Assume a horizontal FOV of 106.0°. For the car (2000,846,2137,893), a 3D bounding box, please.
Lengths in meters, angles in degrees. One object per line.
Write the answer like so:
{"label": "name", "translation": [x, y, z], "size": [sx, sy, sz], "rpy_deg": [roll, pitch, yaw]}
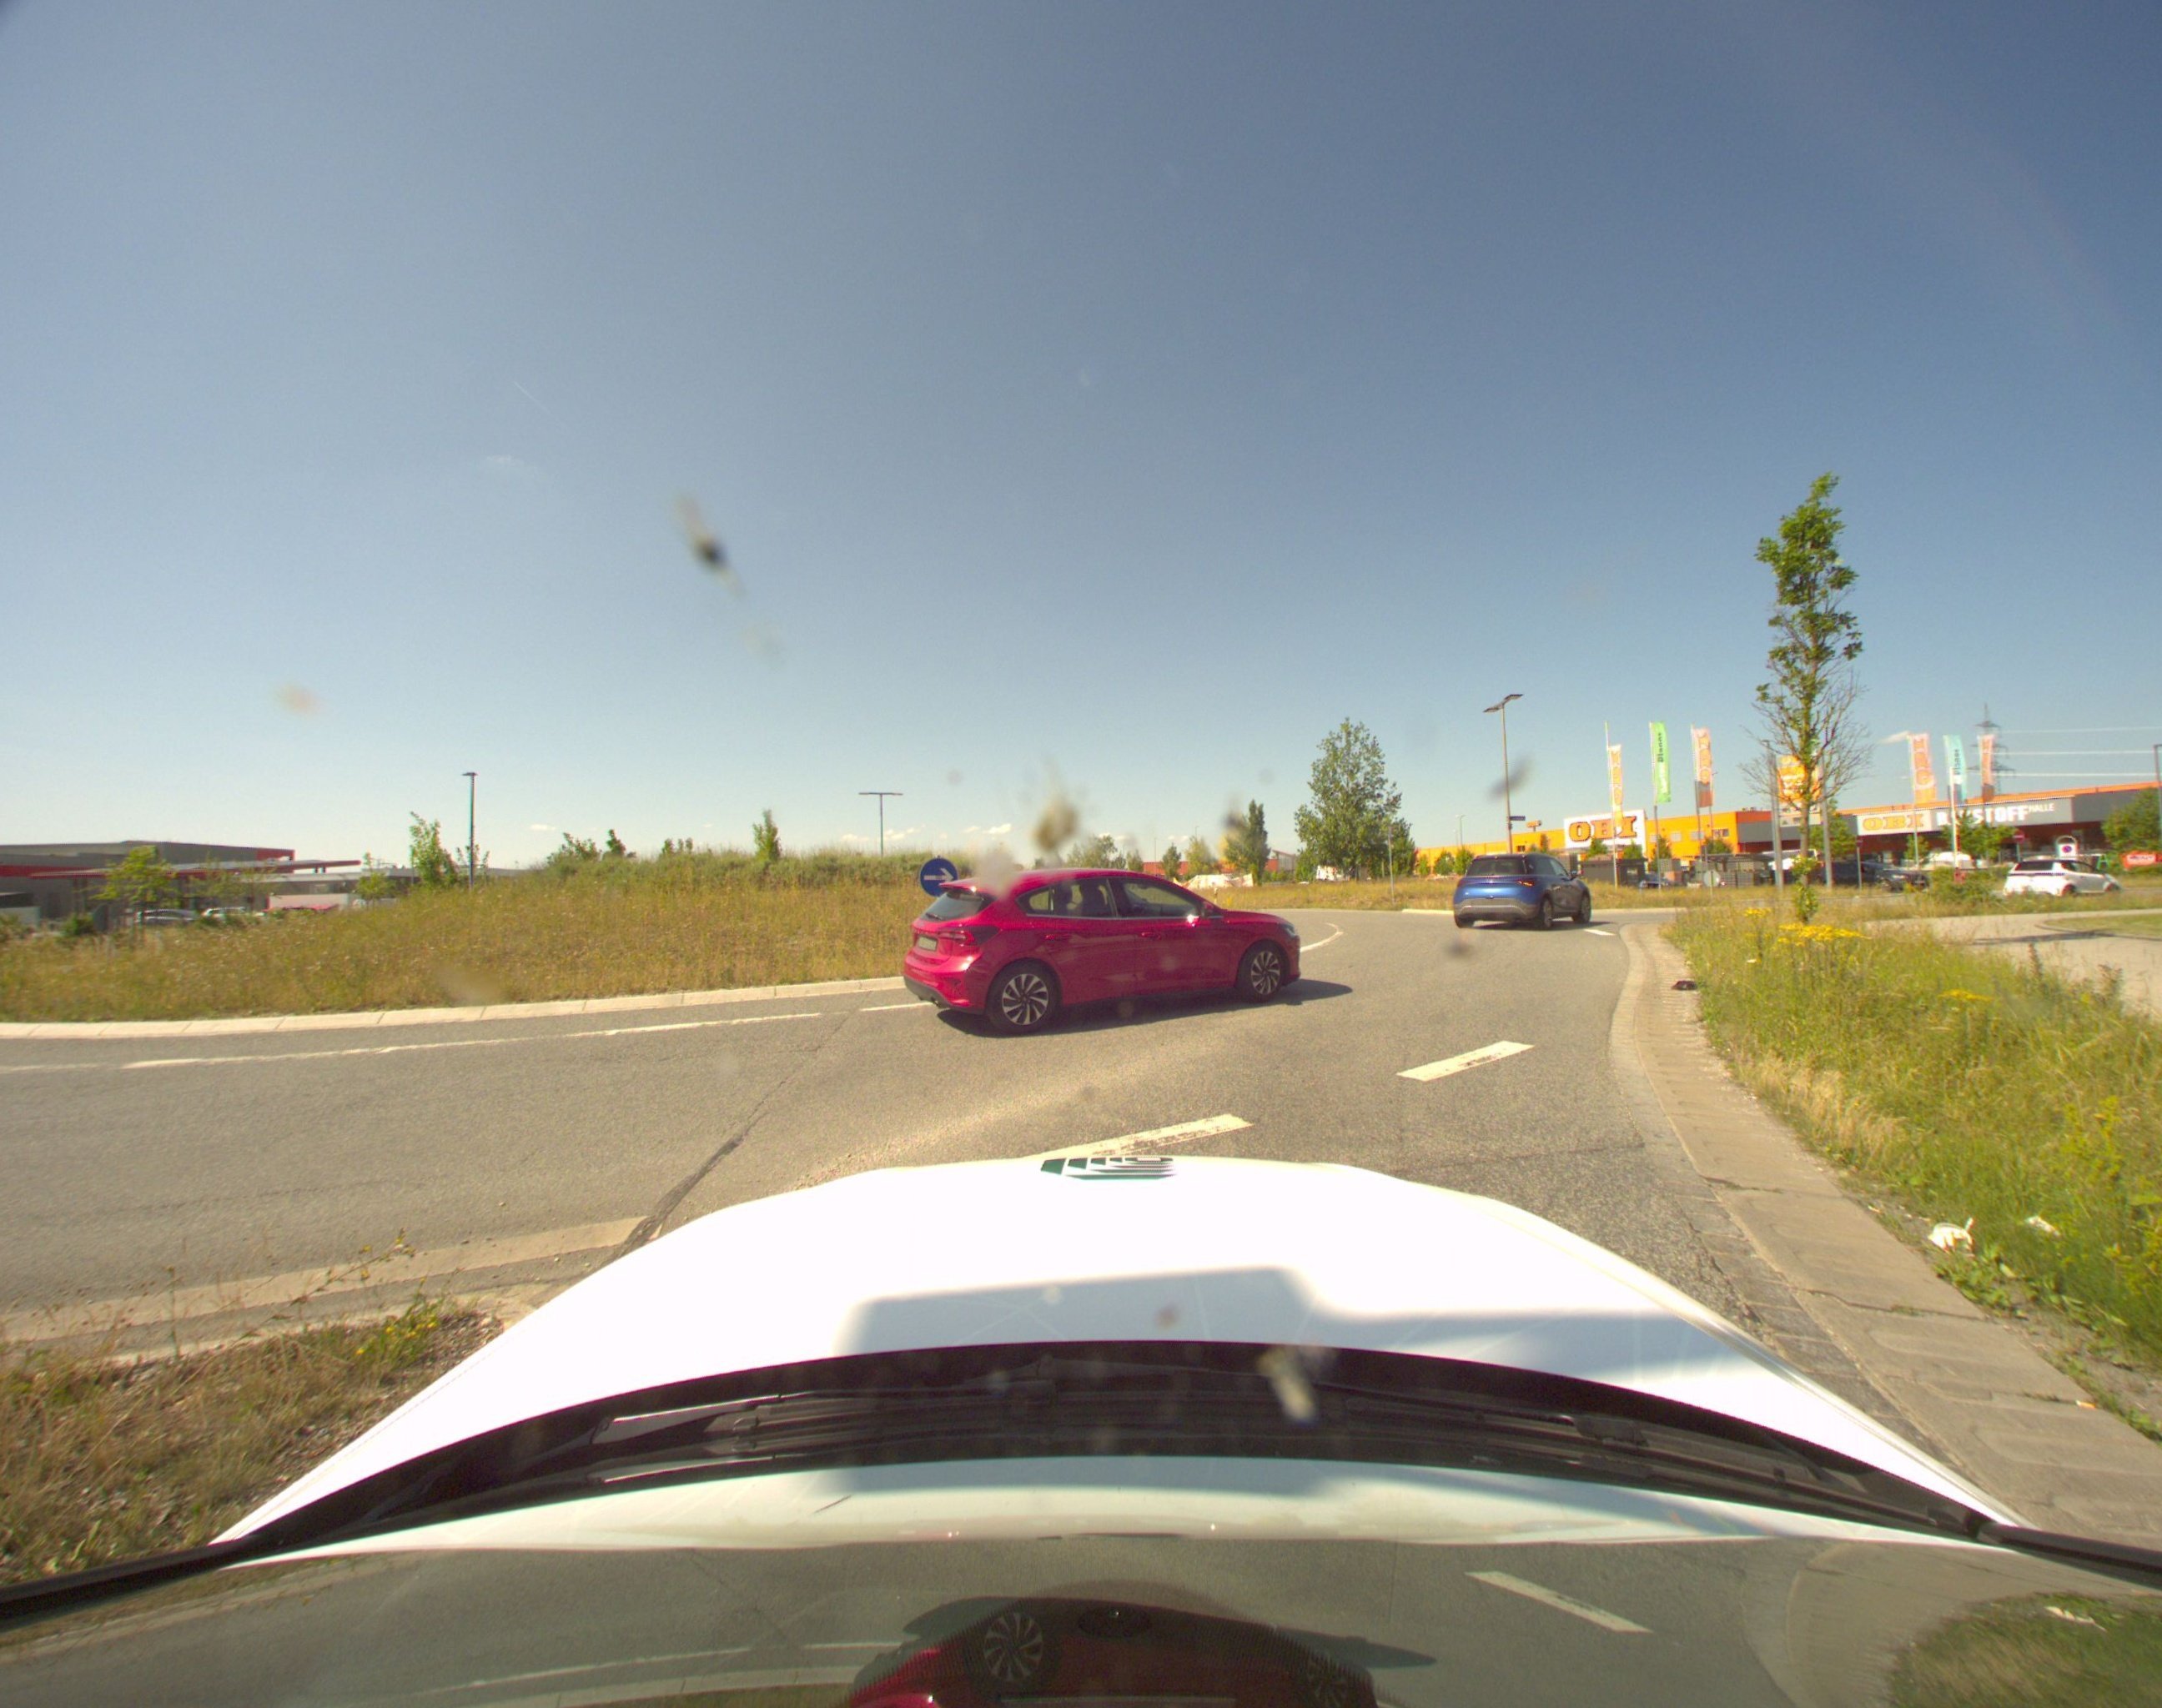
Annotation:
{"label": "car", "translation": [33.442, 0.531, 27.602], "size": [3.341, 1.441, 1.508], "rpy_deg": [-2, -2, -11]}

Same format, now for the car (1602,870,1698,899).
{"label": "car", "translation": [36.726, 1.988, 52.686], "size": [2.080, 1.627, 4.660], "rpy_deg": [0, -4, -22]}

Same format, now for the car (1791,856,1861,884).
{"label": "car", "translation": [51.246, 1.098, 56.040], "size": [3.766, 1.841, 1.692], "rpy_deg": [1, -3, -13]}

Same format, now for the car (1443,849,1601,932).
{"label": "car", "translation": [9.915, 0.738, 18.198], "size": [4.103, 1.635, 1.834], "rpy_deg": [0, -2, -43]}

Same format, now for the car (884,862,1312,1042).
{"label": "car", "translation": [0.209, 0.848, 8.549], "size": [4.126, 1.416, 1.792], "rpy_deg": [-1, -1, -27]}

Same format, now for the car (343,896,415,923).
{"label": "car", "translation": [-56.703, 4.450, 65.926], "size": [1.994, 2.014, 5.117], "rpy_deg": [-1, -3, -10]}
